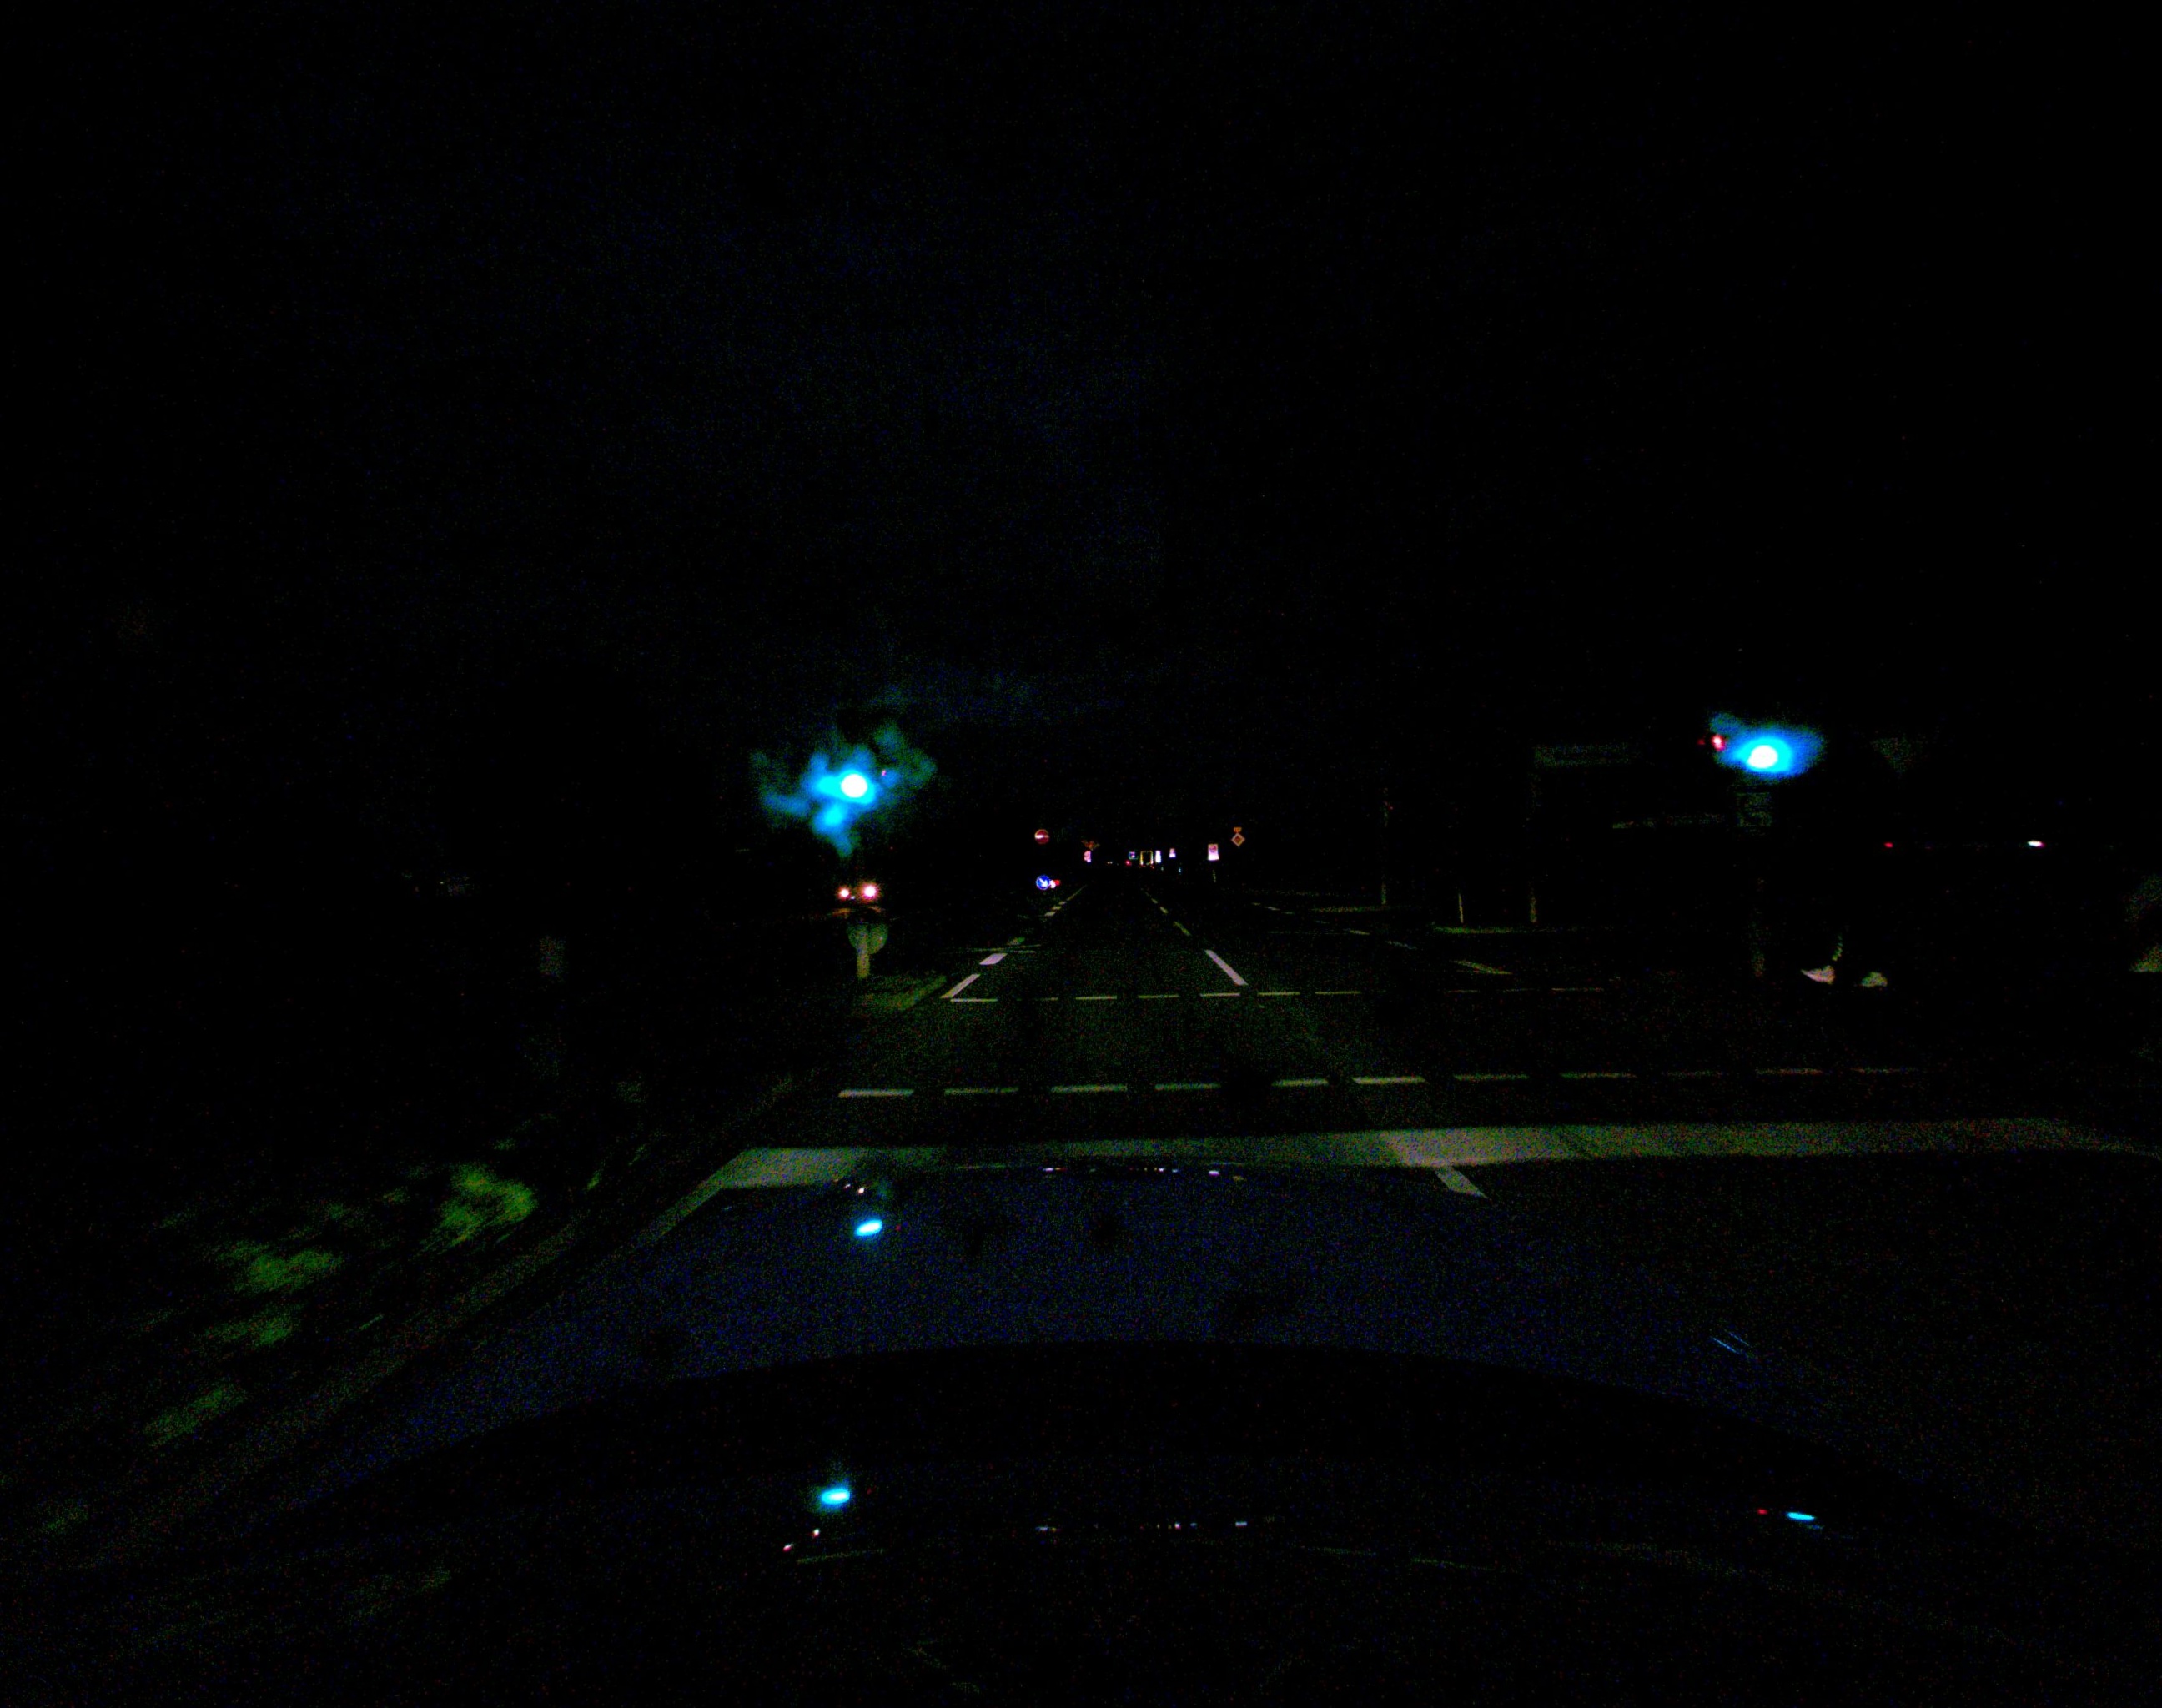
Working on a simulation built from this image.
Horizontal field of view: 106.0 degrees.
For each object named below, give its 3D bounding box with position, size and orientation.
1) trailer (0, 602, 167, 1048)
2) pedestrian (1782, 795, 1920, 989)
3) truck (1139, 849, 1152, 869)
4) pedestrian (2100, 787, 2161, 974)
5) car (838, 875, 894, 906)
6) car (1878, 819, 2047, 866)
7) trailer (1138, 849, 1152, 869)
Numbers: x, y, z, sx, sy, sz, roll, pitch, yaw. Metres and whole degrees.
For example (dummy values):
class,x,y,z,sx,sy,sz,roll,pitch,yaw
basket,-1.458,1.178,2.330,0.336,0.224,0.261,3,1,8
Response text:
class,x,y,z,sx,sy,sz,roll,pitch,yaw
trailer,-11.652,-0.208,4.219,2.558,3.943,8.912,-3,-1,15
pedestrian,8.321,0.399,8.836,0.775,2.014,0.714,0,-1,3
truck,13.859,1.069,174.102,2.569,4.071,6.135,-1,0,3
pedestrian,11.961,0.288,9.064,0.784,2.014,0.706,1,-2,-37
car,-10.961,1.826,41.725,1.646,1.384,4.031,-3,-1,1
car,35.225,-0.428,32.653,2.010,1.664,4.426,-2,-1,-39
trailer,14.144,1.149,180.414,2.612,4.104,12.943,-2,-1,2
